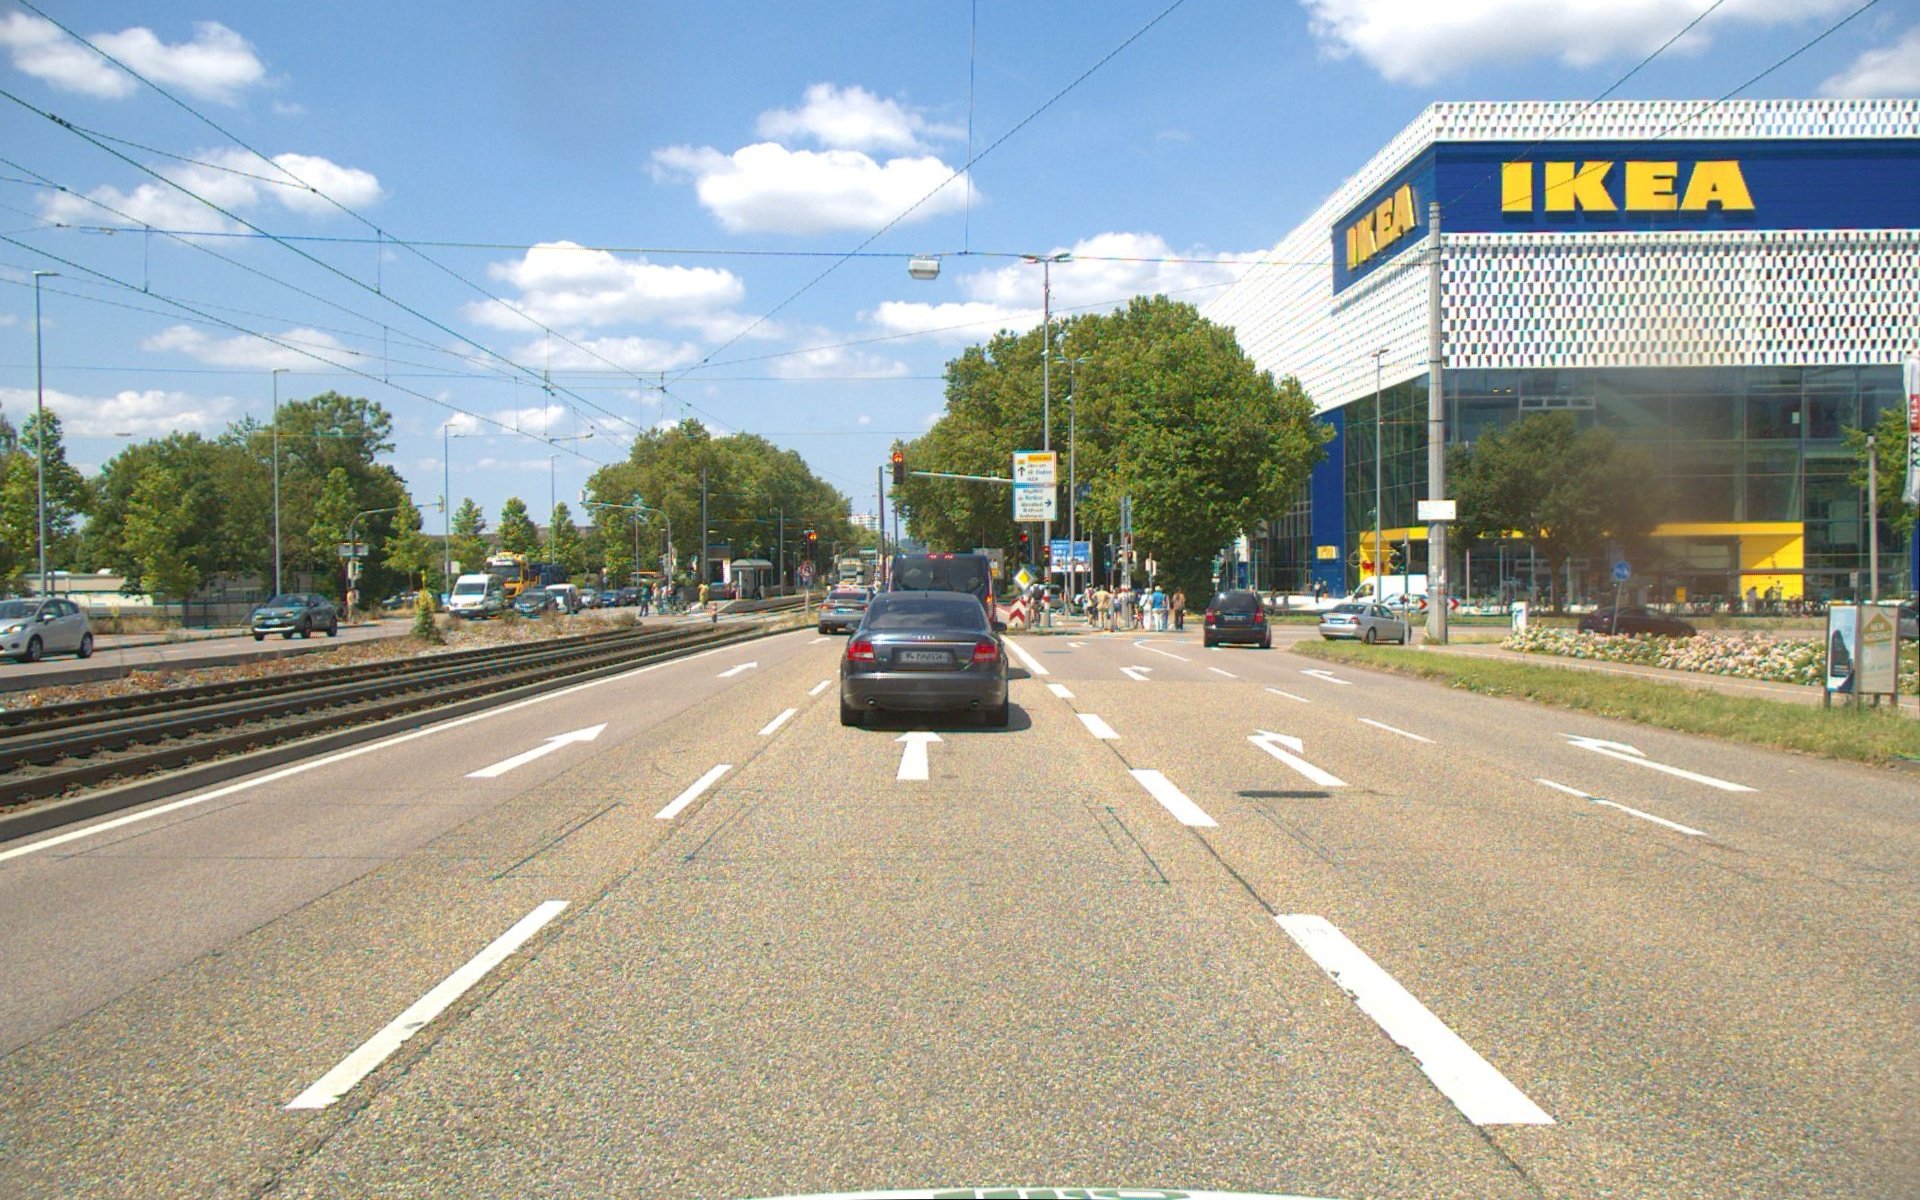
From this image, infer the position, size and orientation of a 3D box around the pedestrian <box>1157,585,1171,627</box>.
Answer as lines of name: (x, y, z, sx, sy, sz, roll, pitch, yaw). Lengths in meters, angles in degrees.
pedestrian: (8.153, 0.237, 66.188, 0.493, 1.663, 0.449, 1, 0, 2)

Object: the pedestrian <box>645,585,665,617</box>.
pedestrian: (-16.680, 0.048, 90.402, 0.806, 1.750, 0.775, 1, 0, 21)

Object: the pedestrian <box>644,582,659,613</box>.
pedestrian: (-16.202, -0.133, 86.909, 0.671, 1.666, 0.572, 0, 0, -4)

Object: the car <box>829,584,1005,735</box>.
car: (-0.454, 0.582, 18.718, 1.756, 1.480, 4.000, -1, 1, -1)

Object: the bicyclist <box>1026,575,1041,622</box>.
bicyclist: (2.842, -0.073, 64.240, 0.518, 1.820, 1.088, 0, 0, 0)

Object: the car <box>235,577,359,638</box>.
car: (-22.614, 0.220, 56.610, 1.951, 1.951, 4.414, 2, 1, 8)

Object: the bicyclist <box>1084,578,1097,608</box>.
bicyclist: (5.242, -0.274, 66.373, 0.461, 1.214, 0.791, 0, 0, 2)

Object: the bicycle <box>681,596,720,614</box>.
bicycle: (-13.667, 0.278, 87.073, 2.019, 0.941, 0.751, 1, 0, -11)

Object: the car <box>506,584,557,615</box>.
car: (-24.603, -0.060, 95.150, 1.785, 1.699, 4.461, 1, 1, -1)

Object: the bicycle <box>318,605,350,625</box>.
bicycle: (-32.771, 0.800, 86.624, 1.461, 1.004, 0.485, 1, 0, -5)

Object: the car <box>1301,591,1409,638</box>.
car: (13.574, 0.493, 56.744, 1.963, 1.512, 4.144, 2, 1, 40)

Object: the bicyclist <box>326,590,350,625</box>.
bicyclist: (-32.586, 0.403, 86.615, 1.097, 1.805, 0.340, 1, 0, -6)

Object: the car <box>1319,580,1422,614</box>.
car: (19.583, -0.156, 79.031, 4.403, 1.512, 2.001, 2, 1, 3)

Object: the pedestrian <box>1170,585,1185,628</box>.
pedestrian: (8.694, 0.244, 66.076, 0.510, 1.699, 0.494, 1, 0, 2)

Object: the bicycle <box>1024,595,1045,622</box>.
bicycle: (2.902, 0.319, 64.725, 0.673, 1.011, 2.751, 1, 0, 0)

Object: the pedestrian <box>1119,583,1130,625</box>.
pedestrian: (6.591, 0.161, 66.268, 0.373, 1.663, 0.377, 1, 0, 2)

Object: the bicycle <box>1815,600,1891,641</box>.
bicycle: (34.105, 0.768, 63.196, 2.372, 1.507, 0.989, 1, 0, 4)

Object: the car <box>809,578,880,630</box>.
car: (-3.570, 0.089, 51.650, 1.953, 1.512, 4.000, 2, 1, -1)

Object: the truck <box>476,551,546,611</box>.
truck: (-28.136, -1.174, 103.961, 2.711, 3.631, 6.438, 1, 0, -1)

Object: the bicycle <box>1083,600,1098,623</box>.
bicycle: (5.199, 0.439, 65.956, 0.538, 0.892, 1.698, 1, 0, 2)

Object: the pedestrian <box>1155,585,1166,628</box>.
pedestrian: (7.770, 0.258, 64.050, 0.389, 1.663, 0.371, 1, 0, 2)

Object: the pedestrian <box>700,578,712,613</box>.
pedestrian: (-14.590, -0.255, 94.976, 0.672, 2.049, 0.572, 0, 0, -5)

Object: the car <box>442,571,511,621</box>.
car: (-27.802, -0.275, 95.374, 2.198, 2.634, 6.233, -2, 1, -2)

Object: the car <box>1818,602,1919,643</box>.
car: (37.389, 0.915, 67.130, 4.047, 1.512, 2.000, 2, 1, 0)

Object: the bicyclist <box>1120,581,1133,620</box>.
bicyclist: (7.664, 0.020, 76.041, 0.517, 1.795, 0.828, 0, 0, 13)

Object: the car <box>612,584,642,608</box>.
car: (-27.974, -0.357, 139.031, 1.781, 1.916, 3.999, 1, 0, -1)

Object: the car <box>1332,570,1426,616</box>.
car: (22.272, -0.380, 87.850, 4.660, 2.349, 2.001, 1, 0, 19)

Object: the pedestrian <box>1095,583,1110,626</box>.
pedestrian: (5.524, 0.160, 64.116, 0.542, 1.663, 0.433, 1, 0, 2)

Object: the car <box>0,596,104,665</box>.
car: (-21.170, 0.670, 37.357, 1.786, 1.440, 3.881, -2, 1, -3)

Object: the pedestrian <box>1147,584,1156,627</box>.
pedestrian: (7.408, 0.223, 64.072, 0.314, 1.663, 0.377, 1, 0, 2)

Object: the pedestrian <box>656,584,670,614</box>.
pedestrian: (-15.941, -0.035, 88.830, 0.671, 1.592, 0.572, 0, 0, -4)

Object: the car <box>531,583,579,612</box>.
car: (-25.032, -0.181, 102.374, 1.785, 1.699, 4.462, 1, 1, 1)

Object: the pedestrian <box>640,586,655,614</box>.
pedestrian: (-16.564, 0.017, 87.709, 0.671, 1.468, 0.572, 0, 0, -4)

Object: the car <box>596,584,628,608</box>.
car: (-27.969, -0.336, 133.068, 1.781, 1.916, 3.999, 1, 0, -1)

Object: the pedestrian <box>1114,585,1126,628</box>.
pedestrian: (6.198, 0.243, 64.095, 0.435, 1.663, 0.430, 1, 0, 2)

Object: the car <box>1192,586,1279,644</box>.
car: (7.869, 0.394, 46.947, 1.951, 1.512, 4.003, 2, 1, 16)

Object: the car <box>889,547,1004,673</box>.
car: (-0.245, 0.154, 28.186, 1.799, 1.984, 3.999, 0, 0, -1)

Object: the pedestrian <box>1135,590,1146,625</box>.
pedestrian: (6.998, 0.289, 64.108, 0.365, 1.326, 0.365, 1, 0, 2)

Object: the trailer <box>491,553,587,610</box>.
trailer: (-28.267, -1.216, 111.942, 2.711, 3.580, 15.875, 1, 0, -1)

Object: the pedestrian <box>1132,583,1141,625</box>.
pedestrian: (7.059, 0.148, 66.233, 0.332, 1.663, 0.377, 1, 0, 2)
